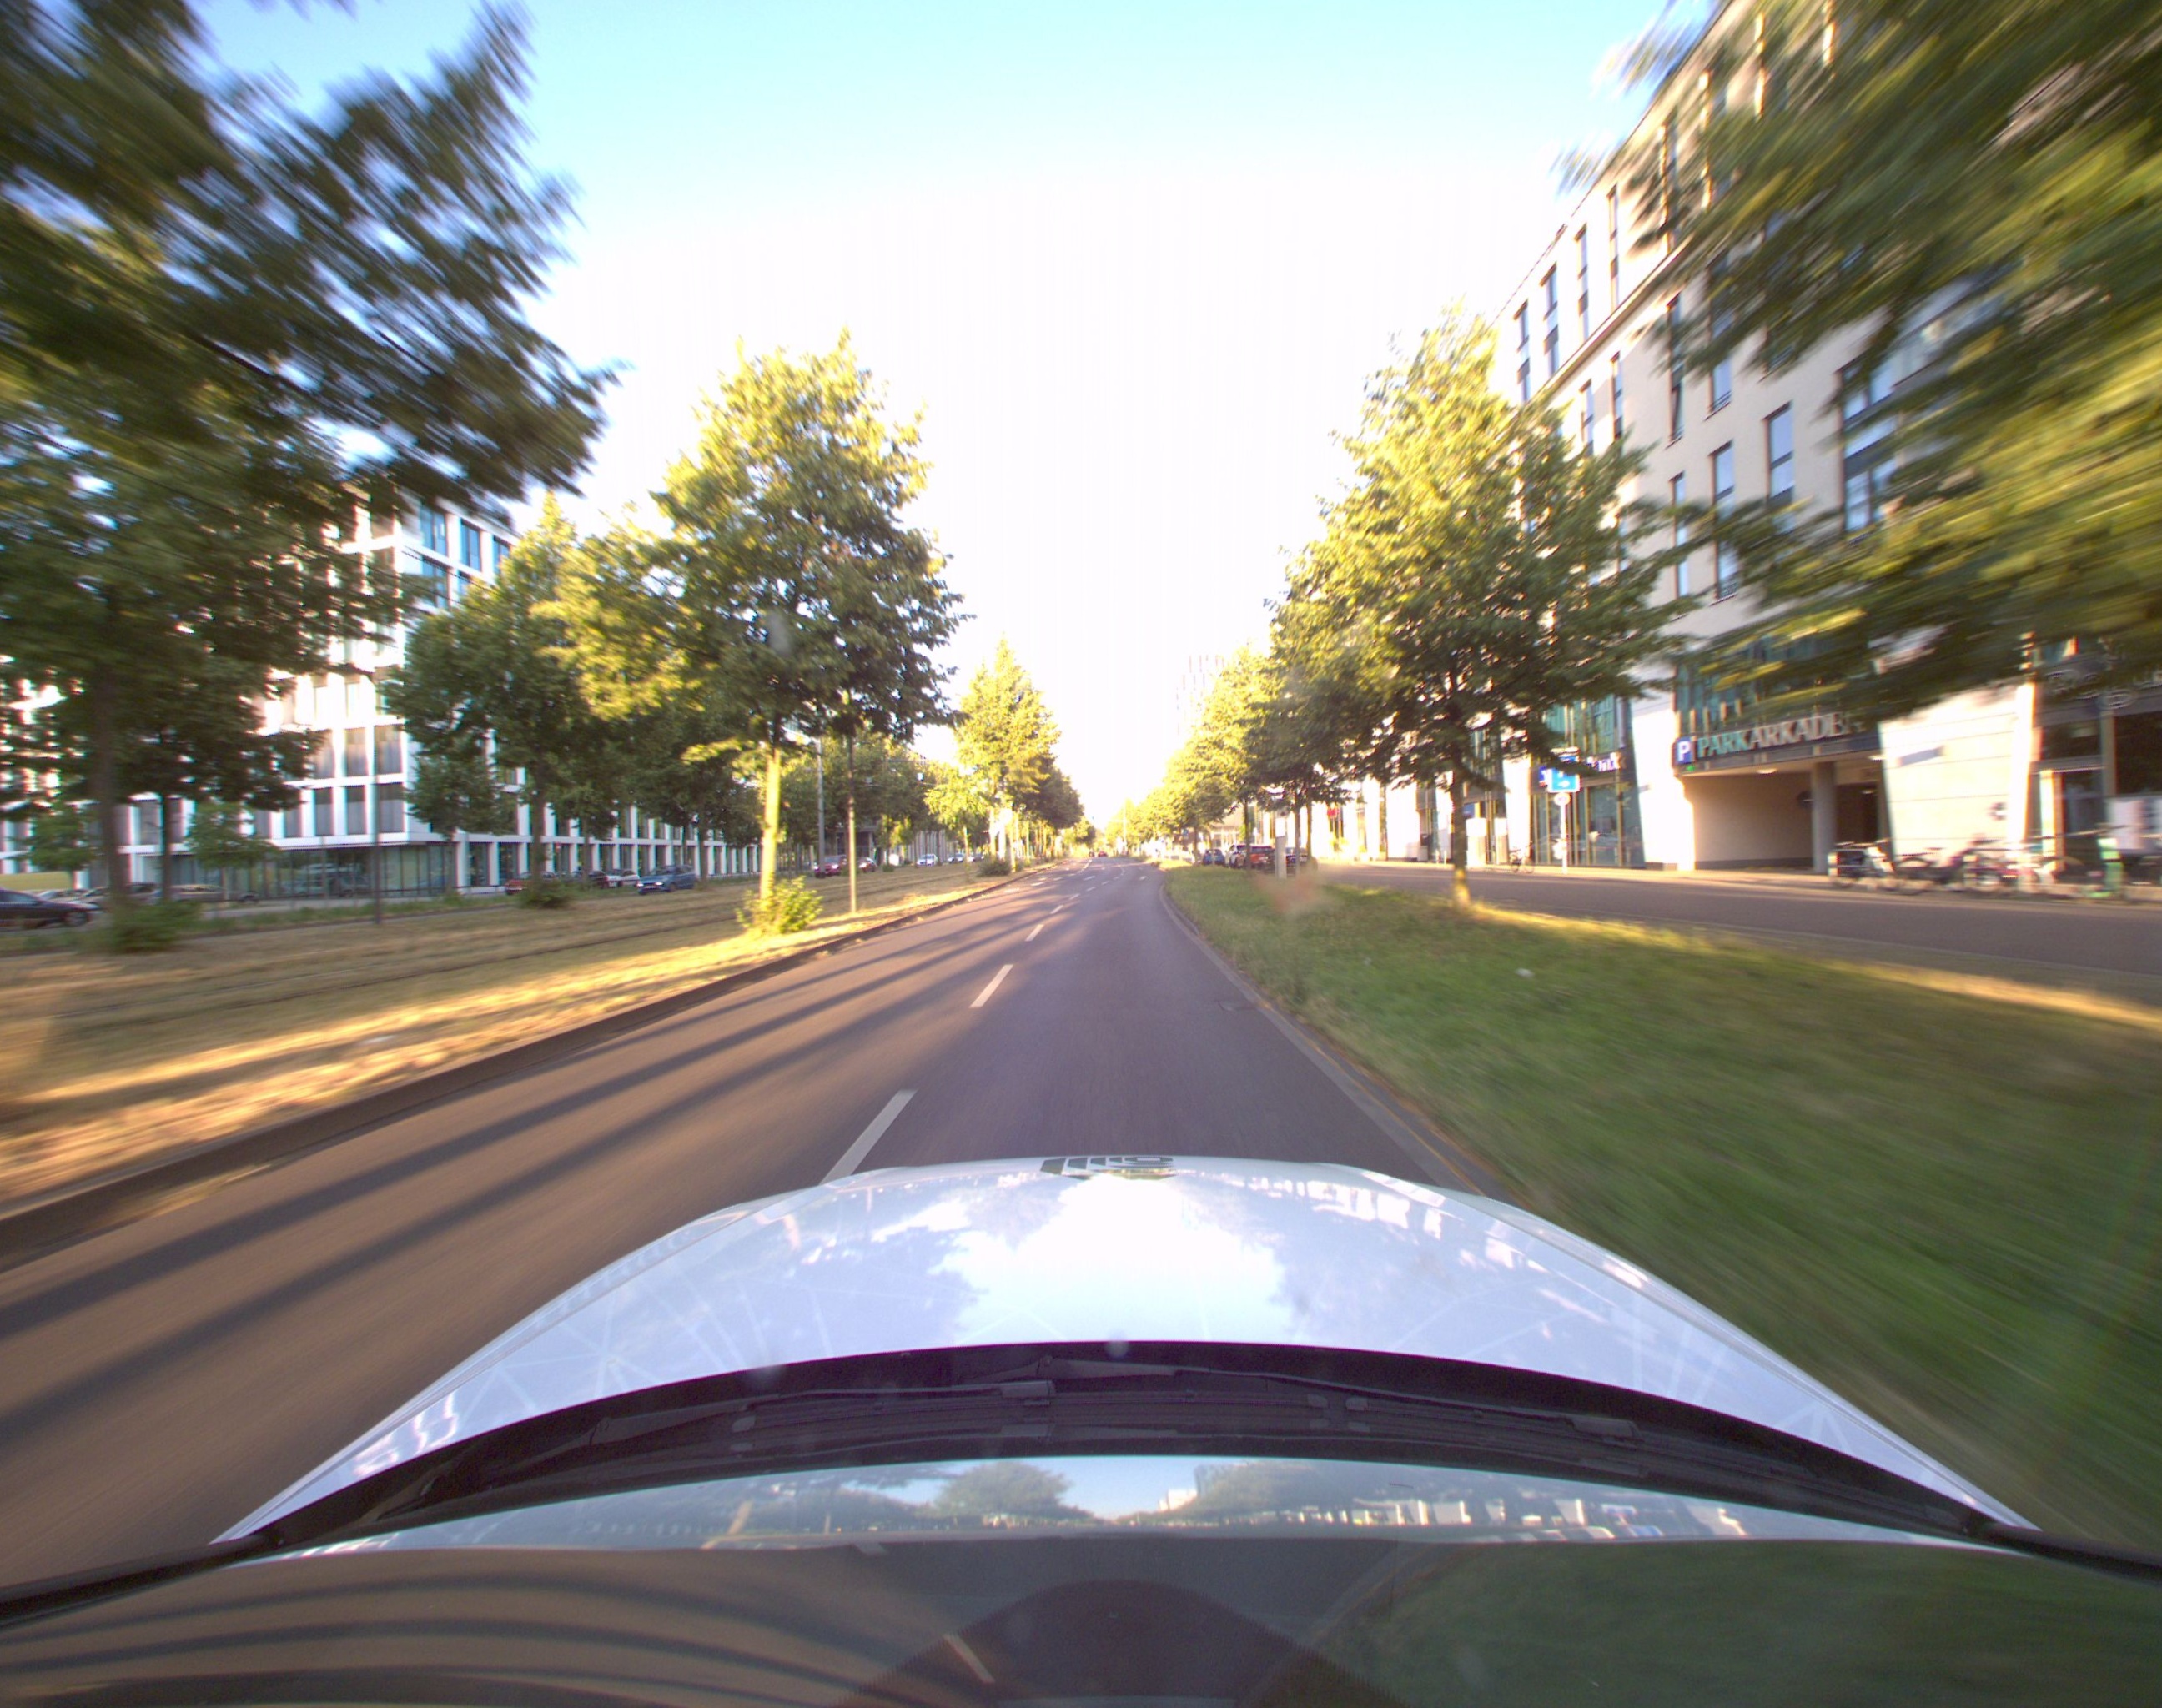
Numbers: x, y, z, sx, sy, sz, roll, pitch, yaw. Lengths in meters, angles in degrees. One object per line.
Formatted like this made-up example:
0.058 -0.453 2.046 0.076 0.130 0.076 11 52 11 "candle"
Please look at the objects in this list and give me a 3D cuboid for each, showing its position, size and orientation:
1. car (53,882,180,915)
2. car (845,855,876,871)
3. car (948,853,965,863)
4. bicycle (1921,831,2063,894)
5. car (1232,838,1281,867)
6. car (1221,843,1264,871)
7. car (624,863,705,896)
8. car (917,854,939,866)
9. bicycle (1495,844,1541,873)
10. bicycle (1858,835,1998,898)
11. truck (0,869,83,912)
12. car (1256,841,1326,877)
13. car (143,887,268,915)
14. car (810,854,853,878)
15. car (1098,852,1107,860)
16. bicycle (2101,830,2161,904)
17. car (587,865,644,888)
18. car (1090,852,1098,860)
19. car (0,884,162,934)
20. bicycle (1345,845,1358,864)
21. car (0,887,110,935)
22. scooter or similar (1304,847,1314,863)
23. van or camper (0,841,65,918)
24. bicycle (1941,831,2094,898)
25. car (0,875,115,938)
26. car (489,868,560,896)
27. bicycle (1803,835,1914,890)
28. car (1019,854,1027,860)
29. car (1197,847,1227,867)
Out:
-54.925 2.520 46.497 1.751 1.589 4.293 -2 0 13 "car"
-20.712 0.824 76.621 1.652 1.332 4.473 -2 0 0 "car"
-17.292 0.514 113.133 1.652 1.332 4.741 -2 0 0 "car"
16.777 0.142 15.069 0.531 1.061 1.858 -4 0 2 "bicycle"
9.647 -0.089 45.076 1.848 1.529 4.484 0 0 1 "car"
10.363 0.169 52.584 1.943 1.714 5.162 0 0 3 "car"
-21.637 1.309 42.534 1.911 1.508 4.288 -2 0 1 "car"
-17.313 0.646 92.160 1.652 1.332 4.529 -2 0 0 "car"
16.545 0.176 30.874 0.650 1.039 2.056 -2 0 2 "bicycle"
15.526 0.219 14.990 0.533 1.061 1.776 -4 0 -8 "bicycle"
-64.362 2.209 48.696 1.980 2.382 5.591 -2 0 12 "truck"
9.684 0.214 37.977 1.938 1.549 4.810 -2 0 -1 "car"
-47.623 2.537 44.424 1.727 1.260 4.268 -2 0 14 "car"
-18.368 0.858 60.101 1.879 1.578 4.181 -2 0 0 "car"
5.349 0.475 202.847 1.987 2.013 4.000 -2 0 0 "car"
16.004 0.191 11.635 0.531 1.061 1.858 -4 0 2 "bicycle"
-34.514 1.629 60.499 1.853 1.581 3.786 -1 0 2 "car"
3.584 0.594 218.041 2.080 2.013 4.000 -2 0 0 "car"
-39.665 2.136 32.202 1.907 1.640 4.006 -2 0 5 "car"
16.982 -0.005 51.116 0.567 1.124 1.840 -4 0 13 "bicycle"
-42.051 2.271 32.360 1.907 1.640 4.006 -2 0 5 "car"
17.480 0.078 62.498 0.354 1.187 1.311 -3 0 3 "scooter or similar"
-44.984 1.063 31.688 2.697 3.085 6.271 -1 0 5 "van or camper"
16.165 0.162 14.130 0.531 1.061 1.858 -2 0 2 "bicycle"
-37.407 1.845 28.187 1.987 2.013 4.932 -2 0 1 "car"
-34.559 1.729 50.655 1.853 1.581 3.494 -1 0 2 "car"
16.267 0.158 17.106 0.531 1.061 1.858 -4 0 2 "bicycle"
-15.908 0.721 224.044 1.722 1.589 3.515 -2 0 1 "car"
10.236 0.205 63.899 1.718 1.529 4.269 0 0 1 "car"
